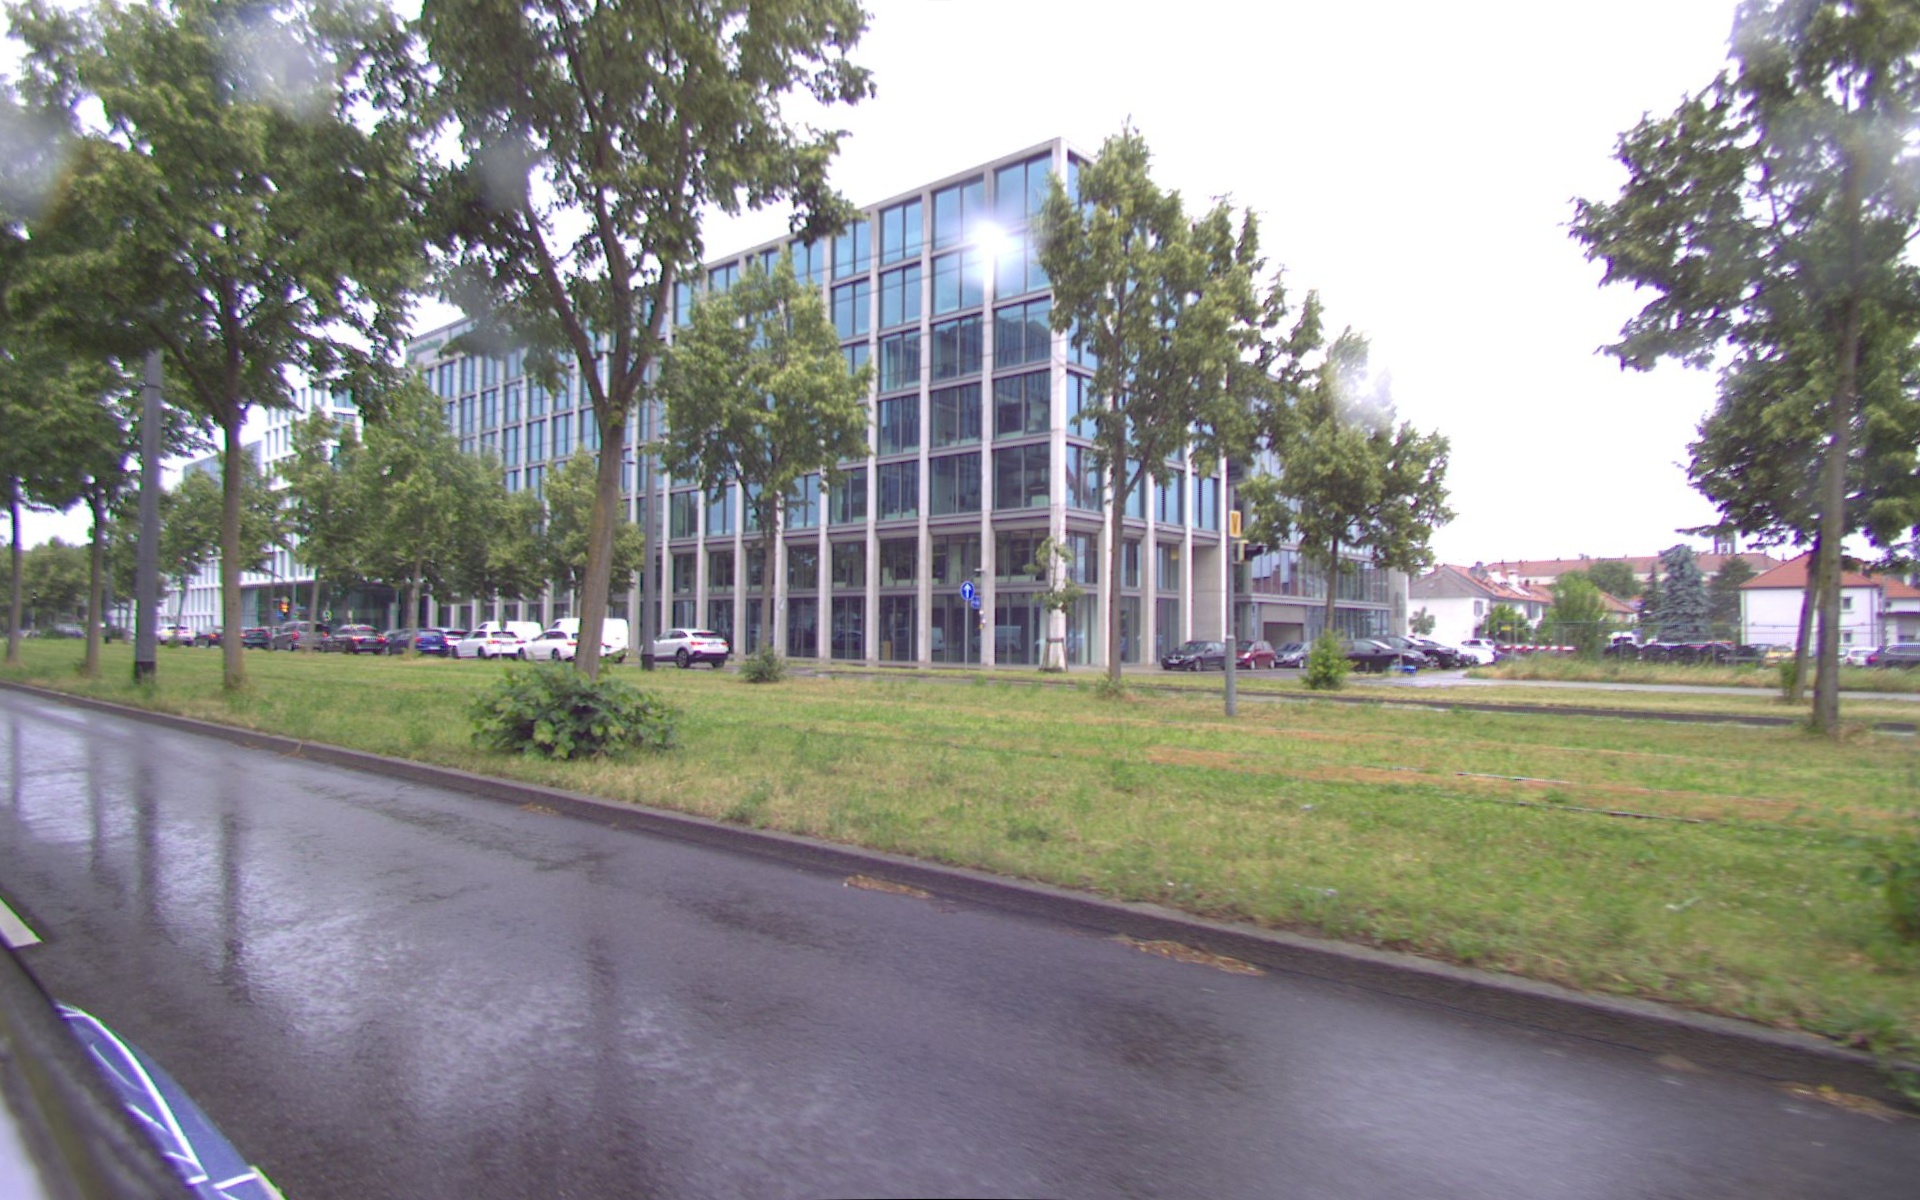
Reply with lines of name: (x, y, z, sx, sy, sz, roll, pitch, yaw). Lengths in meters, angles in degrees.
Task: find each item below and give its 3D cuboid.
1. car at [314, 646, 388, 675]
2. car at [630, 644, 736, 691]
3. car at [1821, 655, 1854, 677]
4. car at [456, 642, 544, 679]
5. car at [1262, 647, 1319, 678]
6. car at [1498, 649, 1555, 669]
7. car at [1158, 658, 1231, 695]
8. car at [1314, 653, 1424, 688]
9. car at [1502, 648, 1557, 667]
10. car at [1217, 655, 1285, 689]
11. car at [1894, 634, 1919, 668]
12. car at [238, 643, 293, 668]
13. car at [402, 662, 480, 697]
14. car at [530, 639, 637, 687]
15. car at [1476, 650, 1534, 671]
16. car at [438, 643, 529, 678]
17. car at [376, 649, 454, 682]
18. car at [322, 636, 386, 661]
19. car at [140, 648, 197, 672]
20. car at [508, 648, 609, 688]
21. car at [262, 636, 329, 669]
car: (-32.847, 3.262, 54.529, 4.597, 1.396, 1.932, -5, -5, 38)
car: (-11.182, 2.662, 40.733, 4.574, 1.762, 1.930, -2, -3, 42)
car: (52.950, 3.973, 61.025, 1.314, 1.194, 3.041, -5, -5, 43)
car: (-23.250, 3.061, 51.083, 5.021, 1.664, 1.932, -5, -5, 37)
car: (18.381, 3.444, 56.247, 1.597, 1.621, 3.563, -5, -5, 43)
car: (51.395, 5.365, 91.849, 4.226, 1.621, 1.723, -4, -5, 35)
car: (11.220, 3.627, 48.398, 1.744, 1.621, 3.748, -5, -5, 42)
car: (15.930, 2.748, 39.510, 3.654, 1.249, 1.486, -5, -5, 38)
car: (52.715, 5.347, 93.691, 4.226, 1.621, 1.723, -4, -5, 35)
car: (15.292, 3.757, 53.104, 1.744, 1.621, 4.102, -5, -5, 42)
car: (40.906, 2.030, 41.367, 3.903, 1.360, 1.671, -5, -5, 44)
car: (-49.055, 3.885, 71.417, 4.265, 1.707, 1.932, -2, -3, 37)
car: (-28.329, 4.325, 55.199, 4.625, 1.759, 1.933, -5, -5, 36)
car: (-17.186, 2.897, 46.051, 5.367, 2.022, 2.245, -5, -5, 40)
car: (47.748, 5.310, 88.659, 4.226, 1.621, 1.723, -4, -5, 35)
car: (-21.717, 2.716, 46.033, 4.570, 1.525, 1.932, -2, -3, 39)
car: (-26.925, 3.237, 49.961, 3.954, 1.506, 1.933, -5, -5, 36)
car: (-37.613, 3.003, 62.787, 4.264, 1.396, 1.933, -5, -5, 36)
car: (-51.519, 3.898, 65.839, 4.570, 1.463, 1.932, -2, -3, 39)
car: (-16.409, 2.778, 41.222, 4.830, 1.472, 1.930, -5, -5, 42)
car: (-39.283, 3.127, 59.775, 4.537, 1.863, 1.932, -3, -4, 38)
